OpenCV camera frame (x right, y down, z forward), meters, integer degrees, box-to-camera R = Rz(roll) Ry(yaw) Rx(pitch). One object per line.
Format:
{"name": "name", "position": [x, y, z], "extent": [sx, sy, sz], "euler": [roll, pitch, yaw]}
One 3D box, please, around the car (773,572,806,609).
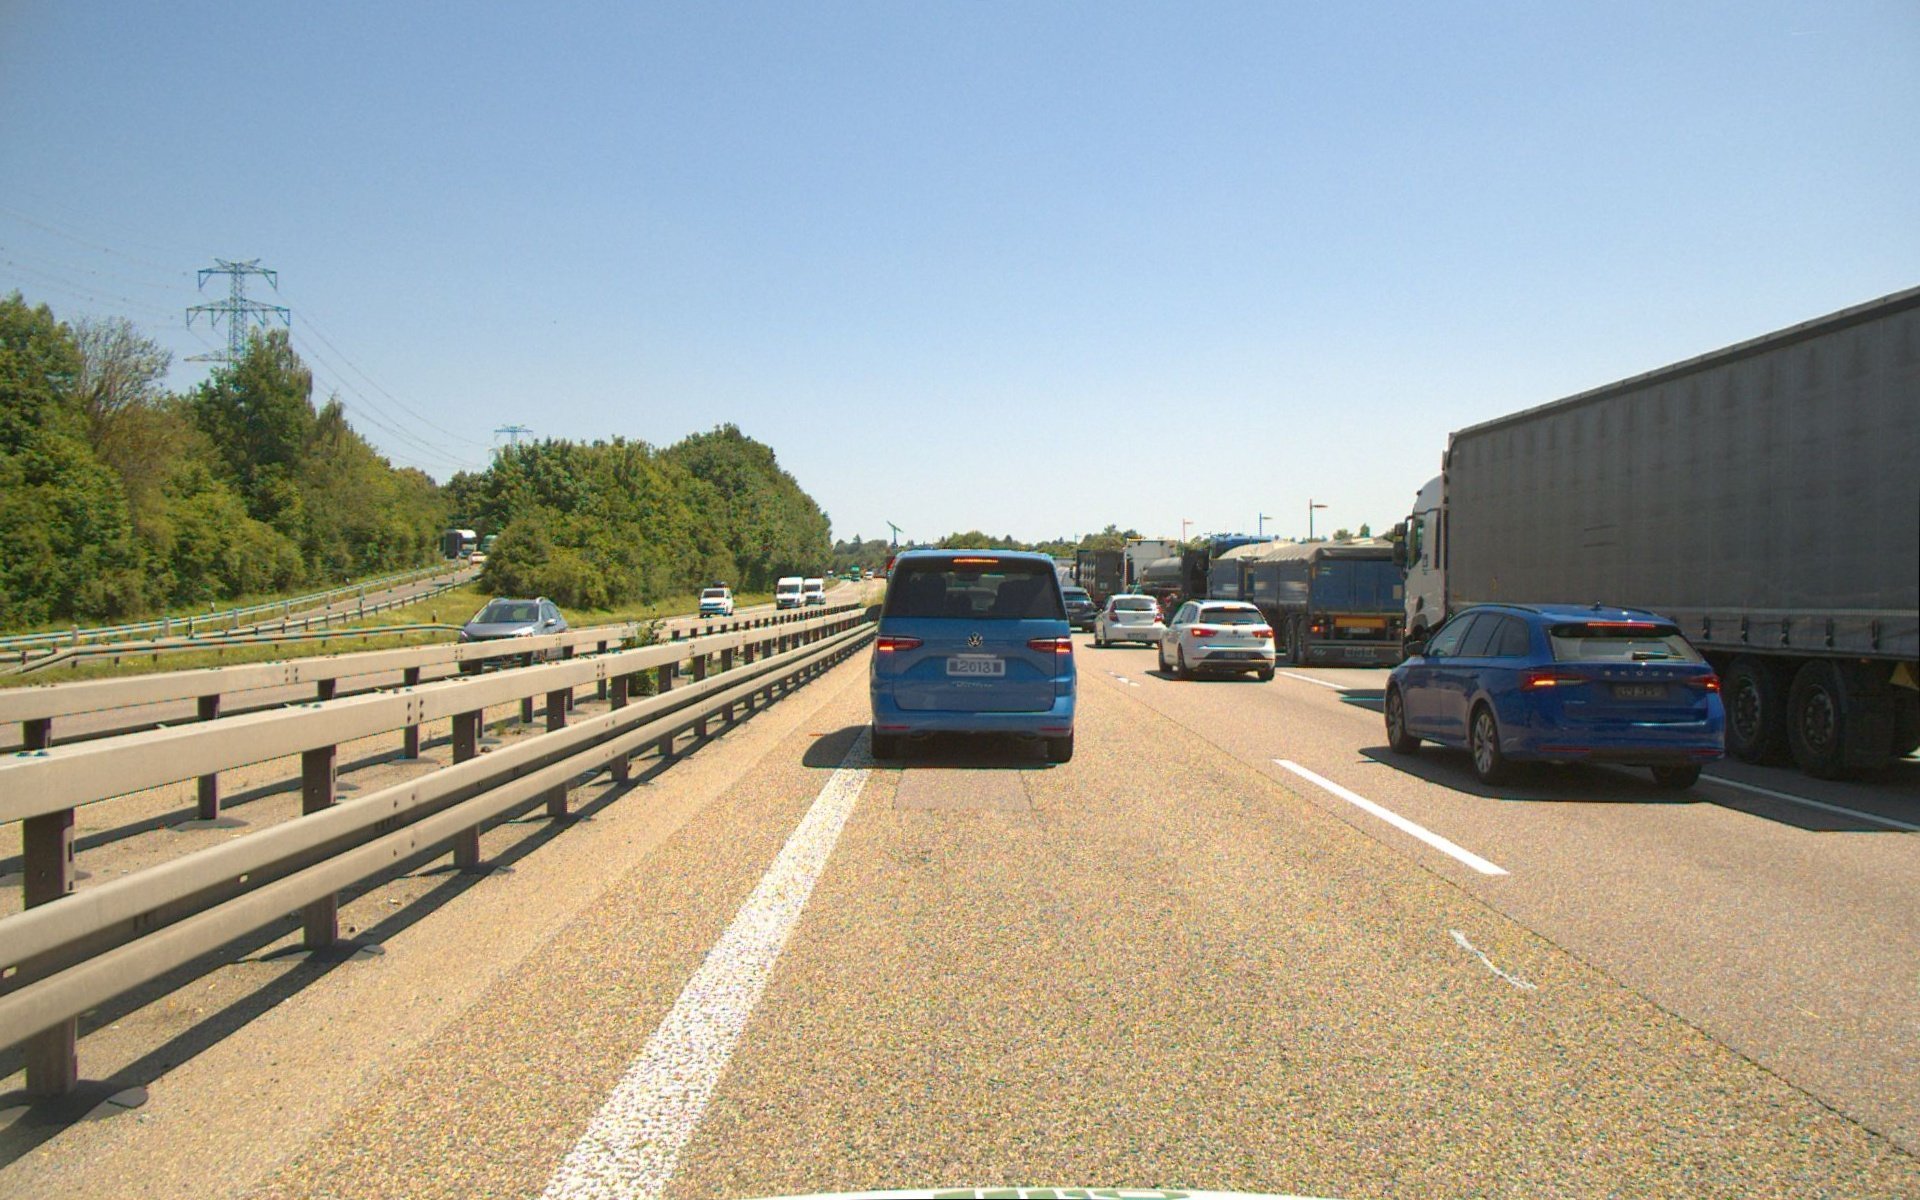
{"name": "car", "position": [-13.336, -0.720, 129.717], "extent": [2.011, 2.697, 5.837], "euler": [-2, 0, -1]}

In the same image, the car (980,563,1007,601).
{"name": "car", "position": [4.946, -2.590, 243.622], "extent": [3.155, 5.349, 8.138], "euler": [1, 0, -4]}

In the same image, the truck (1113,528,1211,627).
{"name": "truck", "position": [9.023, -0.952, 74.757], "extent": [3.551, 4.166, 7.524], "euler": [1, 0, 1]}

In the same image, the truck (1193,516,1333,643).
{"name": "truck", "position": [8.687, -0.608, 48.186], "extent": [2.687, 3.369, 7.133], "euler": [1, 1, 0]}

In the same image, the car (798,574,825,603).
{"name": "car", "position": [-14.341, -1.099, 160.206], "extent": [2.112, 2.639, 5.889], "euler": [-1, 0, -1]}

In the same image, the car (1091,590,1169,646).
{"name": "car", "position": [4.834, 0.509, 47.484], "extent": [1.803, 1.480, 3.999], "euler": [1, 0, 0]}

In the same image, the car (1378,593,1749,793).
{"name": "car", "position": [5.095, 0.715, 14.634], "extent": [1.671, 1.466, 4.427], "euler": [1, 0, 0]}

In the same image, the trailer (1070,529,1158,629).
{"name": "trailer", "position": [8.580, -1.059, 93.835], "extent": [3.572, 5.226, 13.073], "euler": [1, 0, 0]}

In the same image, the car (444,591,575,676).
{"name": "car", "position": [-9.449, 0.675, 35.020], "extent": [1.737, 1.659, 3.950], "euler": [1, 0, -1]}

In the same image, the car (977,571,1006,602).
{"name": "car", "position": [2.983, -1.280, 158.241], "extent": [2.499, 2.765, 5.620], "euler": [1, 0, -1]}

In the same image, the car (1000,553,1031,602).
{"name": "car", "position": [6.272, -2.456, 187.619], "extent": [3.152, 5.349, 8.143], "euler": [1, 0, 0]}

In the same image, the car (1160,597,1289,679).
{"name": "car", "position": [4.896, 0.665, 31.137], "extent": [1.829, 1.385, 4.001], "euler": [1, 0, 1]}

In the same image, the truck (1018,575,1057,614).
{"name": "truck", "position": [3.909, -0.259, 83.751], "extent": [1.690, 1.890, 3.999], "euler": [1, 0, -1]}

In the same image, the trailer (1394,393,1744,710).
{"name": "trailer", "position": [8.795, -0.657, 24.805], "extent": [2.864, 4.114, 6.410], "euler": [0, 0, 0]}

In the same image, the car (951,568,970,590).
{"name": "car", "position": [0.054, -3.267, 260.140], "extent": [2.436, 3.260, 7.367], "euler": [1, 0, -3]}

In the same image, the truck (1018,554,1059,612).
{"name": "truck", "position": [7.066, -1.489, 149.836], "extent": [3.006, 5.006, 10.688], "euler": [1, 0, -1]}

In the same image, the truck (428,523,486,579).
{"name": "truck", "position": [-70.317, -6.730, 231.091], "extent": [4.623, 7.354, 13.501], "euler": [2, -1, -30]}

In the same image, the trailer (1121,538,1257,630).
{"name": "trailer", "position": [8.759, -0.494, 65.531], "extent": [3.571, 3.133, 15.774], "euler": [1, 0, 2]}

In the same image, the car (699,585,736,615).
{"name": "car", "position": [-16.757, 0.023, 114.425], "extent": [1.827, 1.938, 5.491], "euler": [-2, 0, -2]}

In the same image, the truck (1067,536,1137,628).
{"name": "truck", "position": [8.508, -1.037, 99.972], "extent": [3.584, 5.270, 5.707], "euler": [1, -1, -1]}

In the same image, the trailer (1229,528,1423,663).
{"name": "trailer", "position": [8.704, -0.179, 40.535], "extent": [2.687, 2.886, 9.116], "euler": [1, 1, 0]}

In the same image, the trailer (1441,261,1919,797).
{"name": "trailer", "position": [8.822, -0.566, 18.415], "extent": [2.902, 4.120, 13.751], "euler": [0, 0, 0]}

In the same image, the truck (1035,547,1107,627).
{"name": "truck", "position": [7.788, -0.804, 118.579], "extent": [3.548, 5.304, 15.683], "euler": [1, 0, -2]}

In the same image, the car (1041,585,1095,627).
{"name": "car", "position": [4.138, 0.234, 63.673], "extent": [1.744, 1.551, 3.999], "euler": [1, 0, -1]}

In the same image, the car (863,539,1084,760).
{"name": "car", "position": [0.154, 0.439, 16.253], "extent": [1.862, 1.870, 4.000], "euler": [1, 0, 1]}

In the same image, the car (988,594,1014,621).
{"name": "car", "position": [3.248, 0.577, 131.355], "extent": [1.953, 2.049, 3.999], "euler": [1, 0, -1]}
